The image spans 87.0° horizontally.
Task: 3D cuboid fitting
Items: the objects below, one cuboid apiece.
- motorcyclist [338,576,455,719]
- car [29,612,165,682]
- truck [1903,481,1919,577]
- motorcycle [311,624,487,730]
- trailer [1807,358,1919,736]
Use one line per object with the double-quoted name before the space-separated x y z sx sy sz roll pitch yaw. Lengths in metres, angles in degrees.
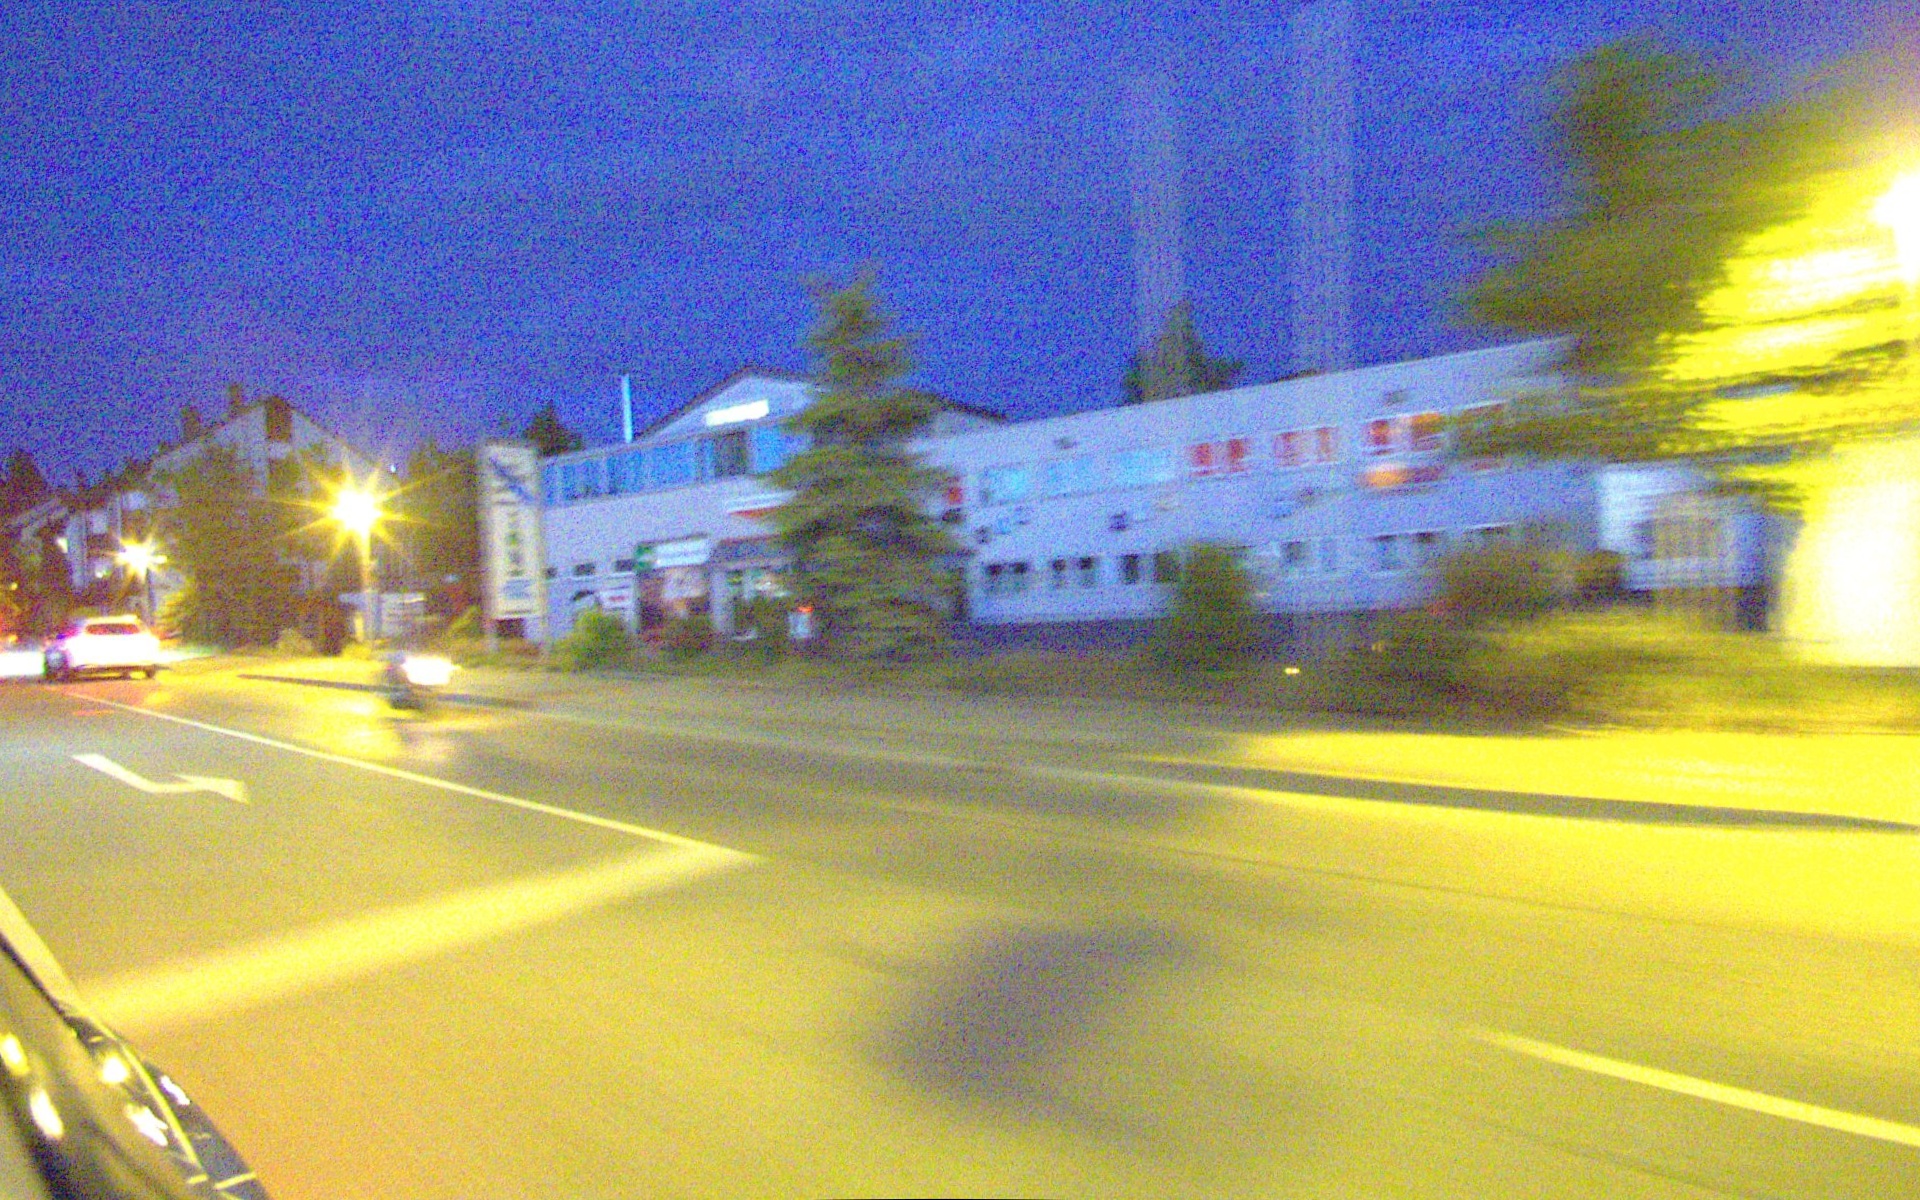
"motorcyclist" -7.910 0.635 14.229 0.831 1.914 1.125 -2 0 34
"car" -23.170 1.224 27.106 4.748 1.639 1.974 -2 0 40
"truck" 37.594 -2.869 36.261 2.860 3.754 9.516 -2 -1 27
"motorcycle" -7.932 1.039 14.255 2.819 1.314 0.989 -2 0 35
"trailer" 8.694 -0.411 8.717 1.998 2.741 4.305 -3 -2 39
